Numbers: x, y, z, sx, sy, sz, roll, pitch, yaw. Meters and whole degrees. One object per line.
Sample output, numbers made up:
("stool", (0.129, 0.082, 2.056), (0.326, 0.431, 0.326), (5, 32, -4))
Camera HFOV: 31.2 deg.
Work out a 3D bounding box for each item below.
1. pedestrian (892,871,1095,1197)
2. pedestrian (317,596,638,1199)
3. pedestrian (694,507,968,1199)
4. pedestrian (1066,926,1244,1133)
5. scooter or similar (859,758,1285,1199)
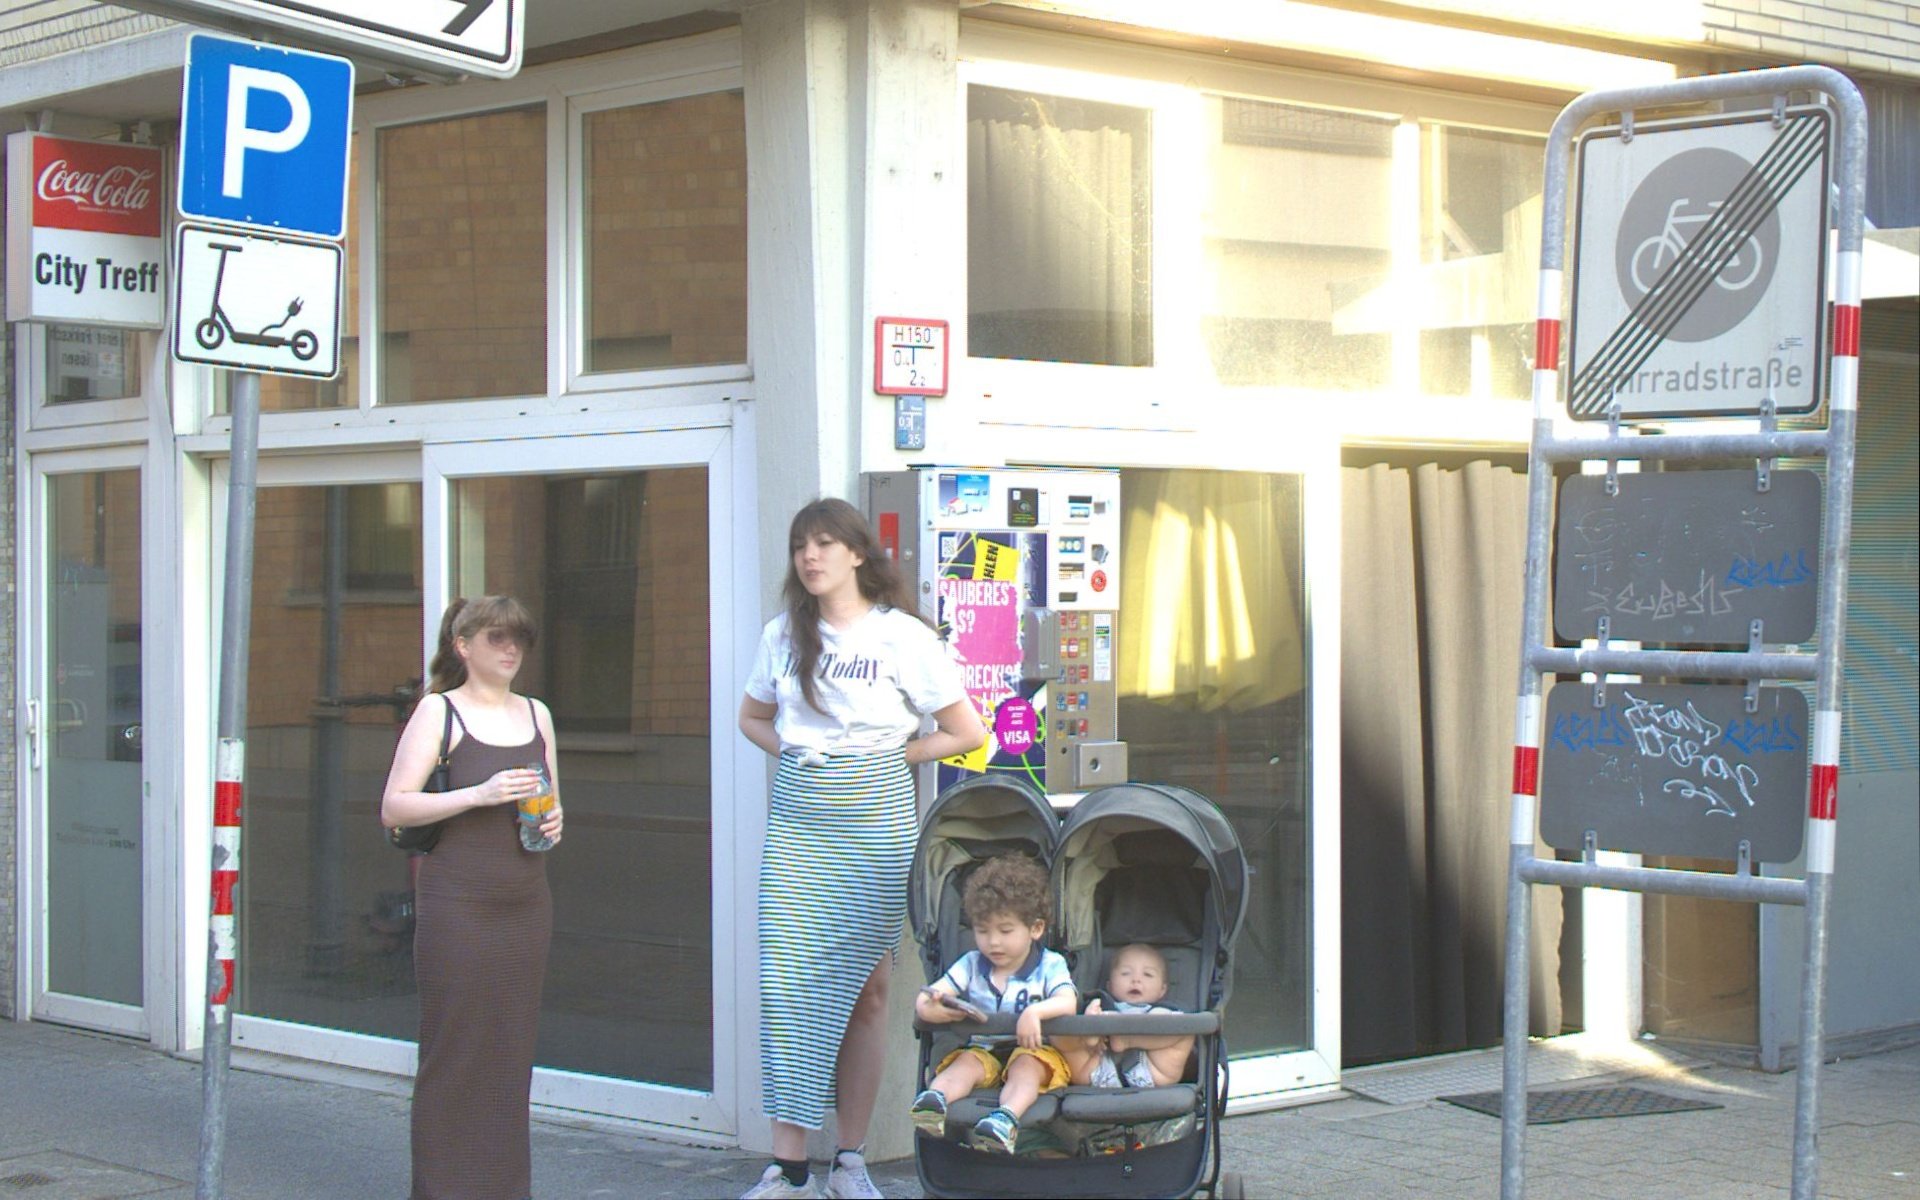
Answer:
("pedestrian", (0.079, 0.927, 7.453), (0.331, 0.631, 0.509), (0, 0, 14))
("pedestrian", (-1.139, 0.773, 8.123), (0.572, 1.535, 0.441), (-3, 2, -33))
("pedestrian", (-0.306, 0.644, 8.448), (0.625, 1.730, 0.622), (0, 0, 2))
("pedestrian", (0.425, 0.925, 7.447), (0.331, 0.397, 0.312), (0, 0, 14))
("scooter or similar", (0.234, 0.980, 7.579), (0.868, 1.172, 1.045), (0, 2, 1))
